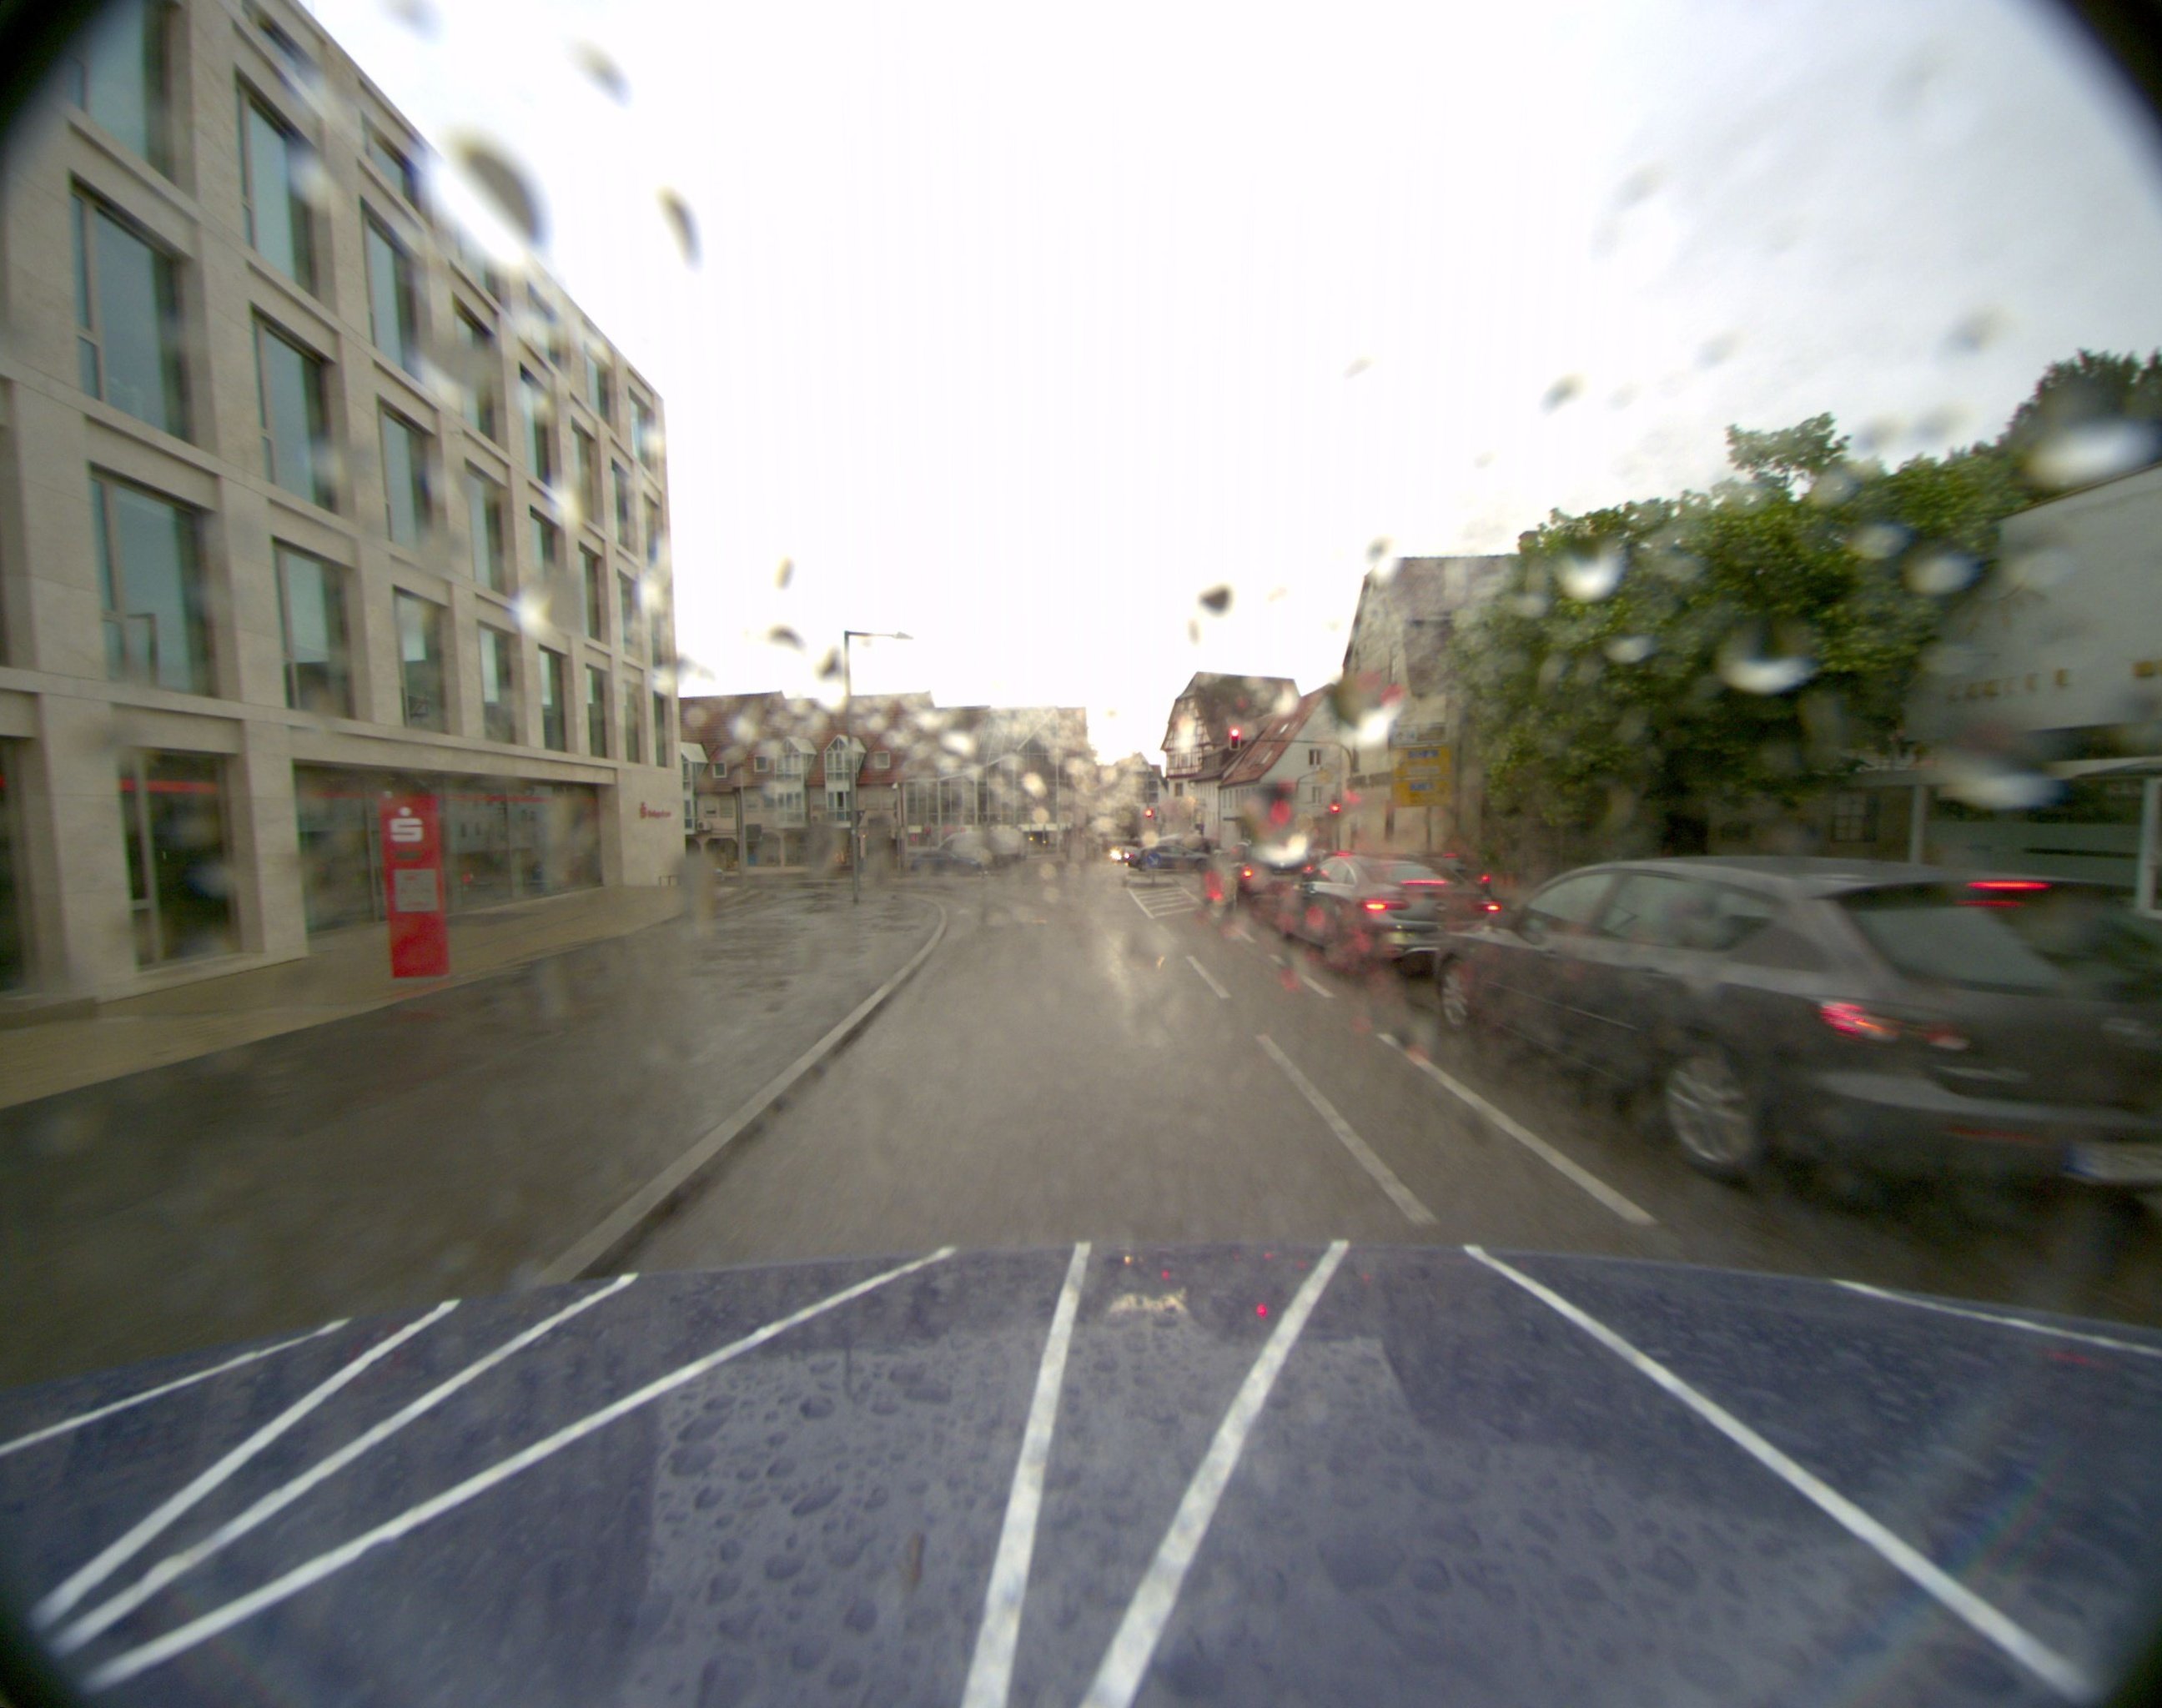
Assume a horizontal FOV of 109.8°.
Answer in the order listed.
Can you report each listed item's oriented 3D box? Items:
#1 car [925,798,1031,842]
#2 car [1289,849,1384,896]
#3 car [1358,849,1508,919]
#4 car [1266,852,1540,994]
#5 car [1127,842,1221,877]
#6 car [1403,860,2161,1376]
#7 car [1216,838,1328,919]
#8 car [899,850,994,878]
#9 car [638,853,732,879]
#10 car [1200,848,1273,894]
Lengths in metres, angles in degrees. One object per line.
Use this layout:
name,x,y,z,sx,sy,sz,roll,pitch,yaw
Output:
car,-6.707,-2.196,49.646,6.506,2.673,2.000,-1,1,6
car,7.772,0.514,23.529,1.852,1.286,4.033,-1,1,4
car,7.846,0.602,17.369,1.741,1.346,4.060,-1,1,3
car,4.045,0.732,10.619,1.945,1.432,5.016,-1,1,3
car,5.104,0.285,41.957,5.027,1.834,2.000,-1,1,5
car,3.717,0.828,4.613,1.803,1.431,4.689,-1,1,4
car,4.334,0.479,17.882,1.852,1.654,4.220,-1,1,4
car,-7.808,0.567,44.252,5.025,1.537,2.001,-1,1,10
car,-24.528,0.744,47.145,5.024,1.537,2.001,-1,1,12
car,5.025,0.503,24.990,1.817,1.356,3.748,-1,1,3
